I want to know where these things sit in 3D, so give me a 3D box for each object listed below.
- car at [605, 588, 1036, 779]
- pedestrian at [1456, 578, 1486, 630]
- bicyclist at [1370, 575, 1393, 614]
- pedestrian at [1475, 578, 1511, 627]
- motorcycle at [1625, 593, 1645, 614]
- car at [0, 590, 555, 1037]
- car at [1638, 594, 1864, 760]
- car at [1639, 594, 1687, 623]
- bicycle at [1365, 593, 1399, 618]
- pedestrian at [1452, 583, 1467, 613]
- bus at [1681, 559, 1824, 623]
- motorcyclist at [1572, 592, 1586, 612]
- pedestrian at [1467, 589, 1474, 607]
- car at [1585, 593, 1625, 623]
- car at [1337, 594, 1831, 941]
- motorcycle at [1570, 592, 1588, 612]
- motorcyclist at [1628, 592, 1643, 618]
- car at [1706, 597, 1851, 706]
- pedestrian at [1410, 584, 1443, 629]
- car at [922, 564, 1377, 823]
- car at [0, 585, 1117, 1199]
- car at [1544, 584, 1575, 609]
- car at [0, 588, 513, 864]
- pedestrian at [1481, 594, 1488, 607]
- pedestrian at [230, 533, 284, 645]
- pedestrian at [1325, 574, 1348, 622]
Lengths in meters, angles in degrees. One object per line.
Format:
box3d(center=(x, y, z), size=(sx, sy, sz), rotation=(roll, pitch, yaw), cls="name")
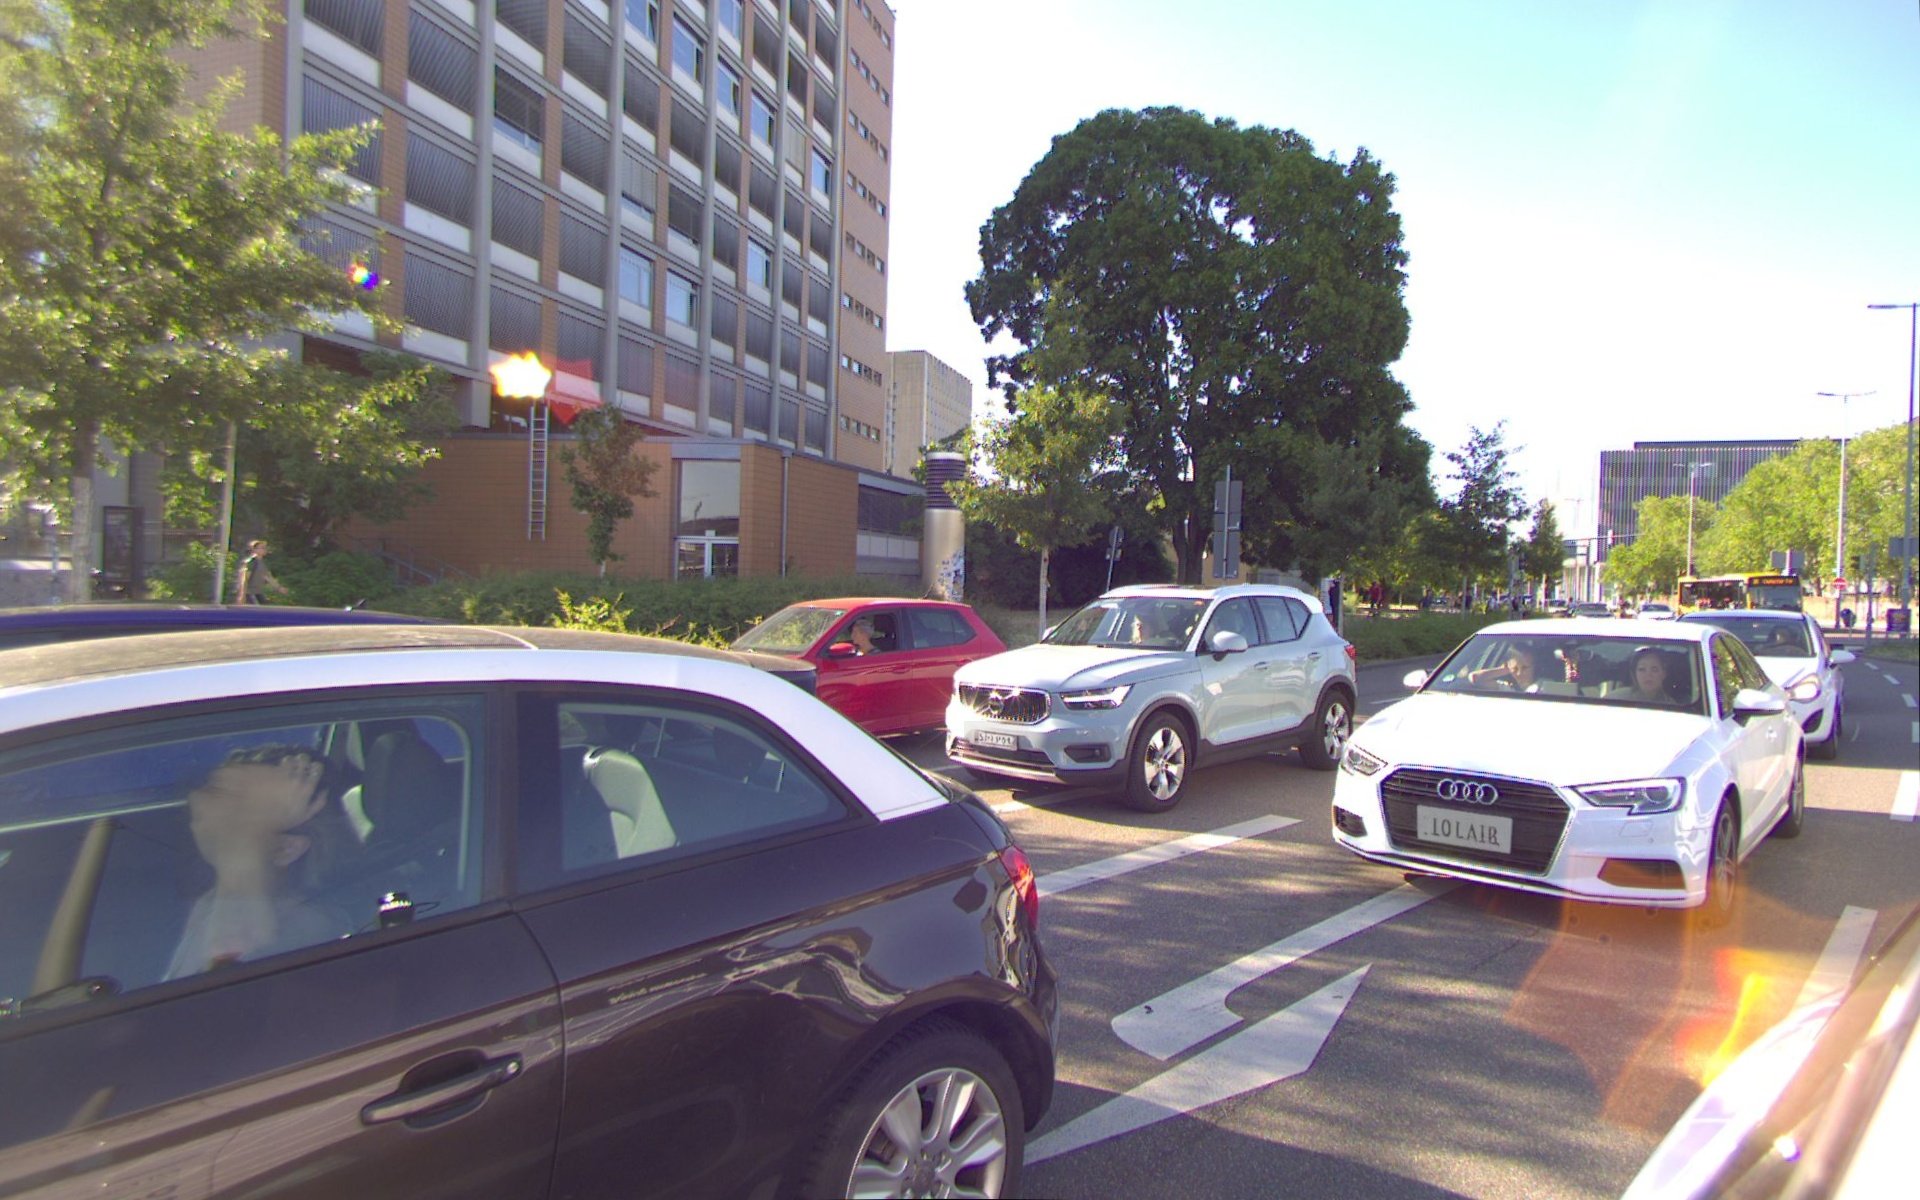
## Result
box3d(center=(-1.195, 0.630, 9.845), size=(3.974, 1.478, 1.625), rotation=(-1, 0, -43), cls="car")
box3d(center=(20.463, 0.143, 40.529), size=(0.891, 2.039, 0.870), rotation=(0, 0, 39), cls="pedestrian")
box3d(center=(17.497, -0.233, 42.002), size=(0.615, 1.580, 0.858), rotation=(0, 0, 41), cls="bicyclist")
box3d(center=(22.713, 0.106, 43.152), size=(1.137, 2.039, 1.268), rotation=(0, 0, 39), cls="pedestrian")
box3d(center=(43.366, 0.228, 65.023), size=(0.711, 1.321, 2.215), rotation=(0, 0, 26), cls="motorcycle")
box3d(center=(-3.764, 0.686, 3.722), size=(3.930, 1.422, 1.626), rotation=(-1, 0, -41), cls="car")
box3d(center=(8.870, 0.689, 11.225), size=(1.623, 1.478, 3.979), rotation=(0, 1, 43), cls="car")
box3d(center=(38.618, 0.434, 55.660), size=(1.741, 1.478, 4.146), rotation=(0, 0, 29), cls="car")
box3d(center=(17.559, 0.207, 42.086), size=(0.657, 0.975, 2.005), rotation=(2, 2, 41), cls="bicycle")
box3d(center=(34.524, -0.162, 69.951), size=(0.846, 2.039, 0.824), rotation=(0, 0, 34), cls="pedestrian")
box3d(center=(44.426, -0.528, 57.338), size=(3.051, 3.252, 12.451), rotation=(0, 1, 22), cls="bus")
box3d(center=(40.692, 0.126, 66.556), size=(0.710, 1.321, 0.729), rotation=(0, 0, 24), cls="motorcyclist")
box3d(center=(49.927, -0.176, 99.029), size=(0.475, 1.706, 0.399), rotation=(1, 1, -41), cls="pedestrian")
box3d(center=(34.163, 0.400, 53.642), size=(1.743, 1.478, 4.140), rotation=(0, 0, 32), cls="car")
box3d(center=(3.942, 0.690, 6.120), size=(3.769, 1.422, 1.625), rotation=(-1, 0, -43), cls="car")
box3d(center=(40.682, 0.120, 66.534), size=(0.710, 1.321, 2.216), rotation=(0, 0, 25), cls="motorcycle")
box3d(center=(43.284, 0.307, 64.869), size=(0.705, 1.610, 0.683), rotation=(0, 0, 28), cls="motorcyclist")
box3d(center=(13.108, 0.711, 16.121), size=(1.622, 1.478, 3.981), rotation=(0, 0, 42), cls="car")
box3d(center=(18.683, 0.250, 40.548), size=(1.005, 1.742, 0.873), rotation=(0, 0, 39), cls="pedestrian")
box3d(center=(1.770, 0.570, 8.460), size=(4.153, 1.641, 1.625), rotation=(-1, 0, -43), cls="car")
box3d(center=(-1.650, 0.695, 1.648), size=(3.930, 1.422, 1.626), rotation=(-1, 0, -41), cls="car")
box3d(center=(44.998, -0.282, 76.037), size=(1.730, 1.727, 3.962), rotation=(2, 1, 27), cls="car")
box3d(center=(-5.284, 0.649, 6.114), size=(4.435, 1.422, 1.725), rotation=(-1, 1, -42), cls="car")
box3d(center=(50.478, 0.062, 97.414), size=(0.487, 1.254, 0.439), rotation=(1, 1, -41), cls="pedestrian")
box3d(center=(-12.188, -0.193, 17.551), size=(0.681, 1.910, 0.465), rotation=(0, 0, -24), cls="pedestrian")
box3d(center=(12.911, -0.080, 34.708), size=(0.593, 1.615, 0.586), rotation=(0, 0, 41), cls="pedestrian")
